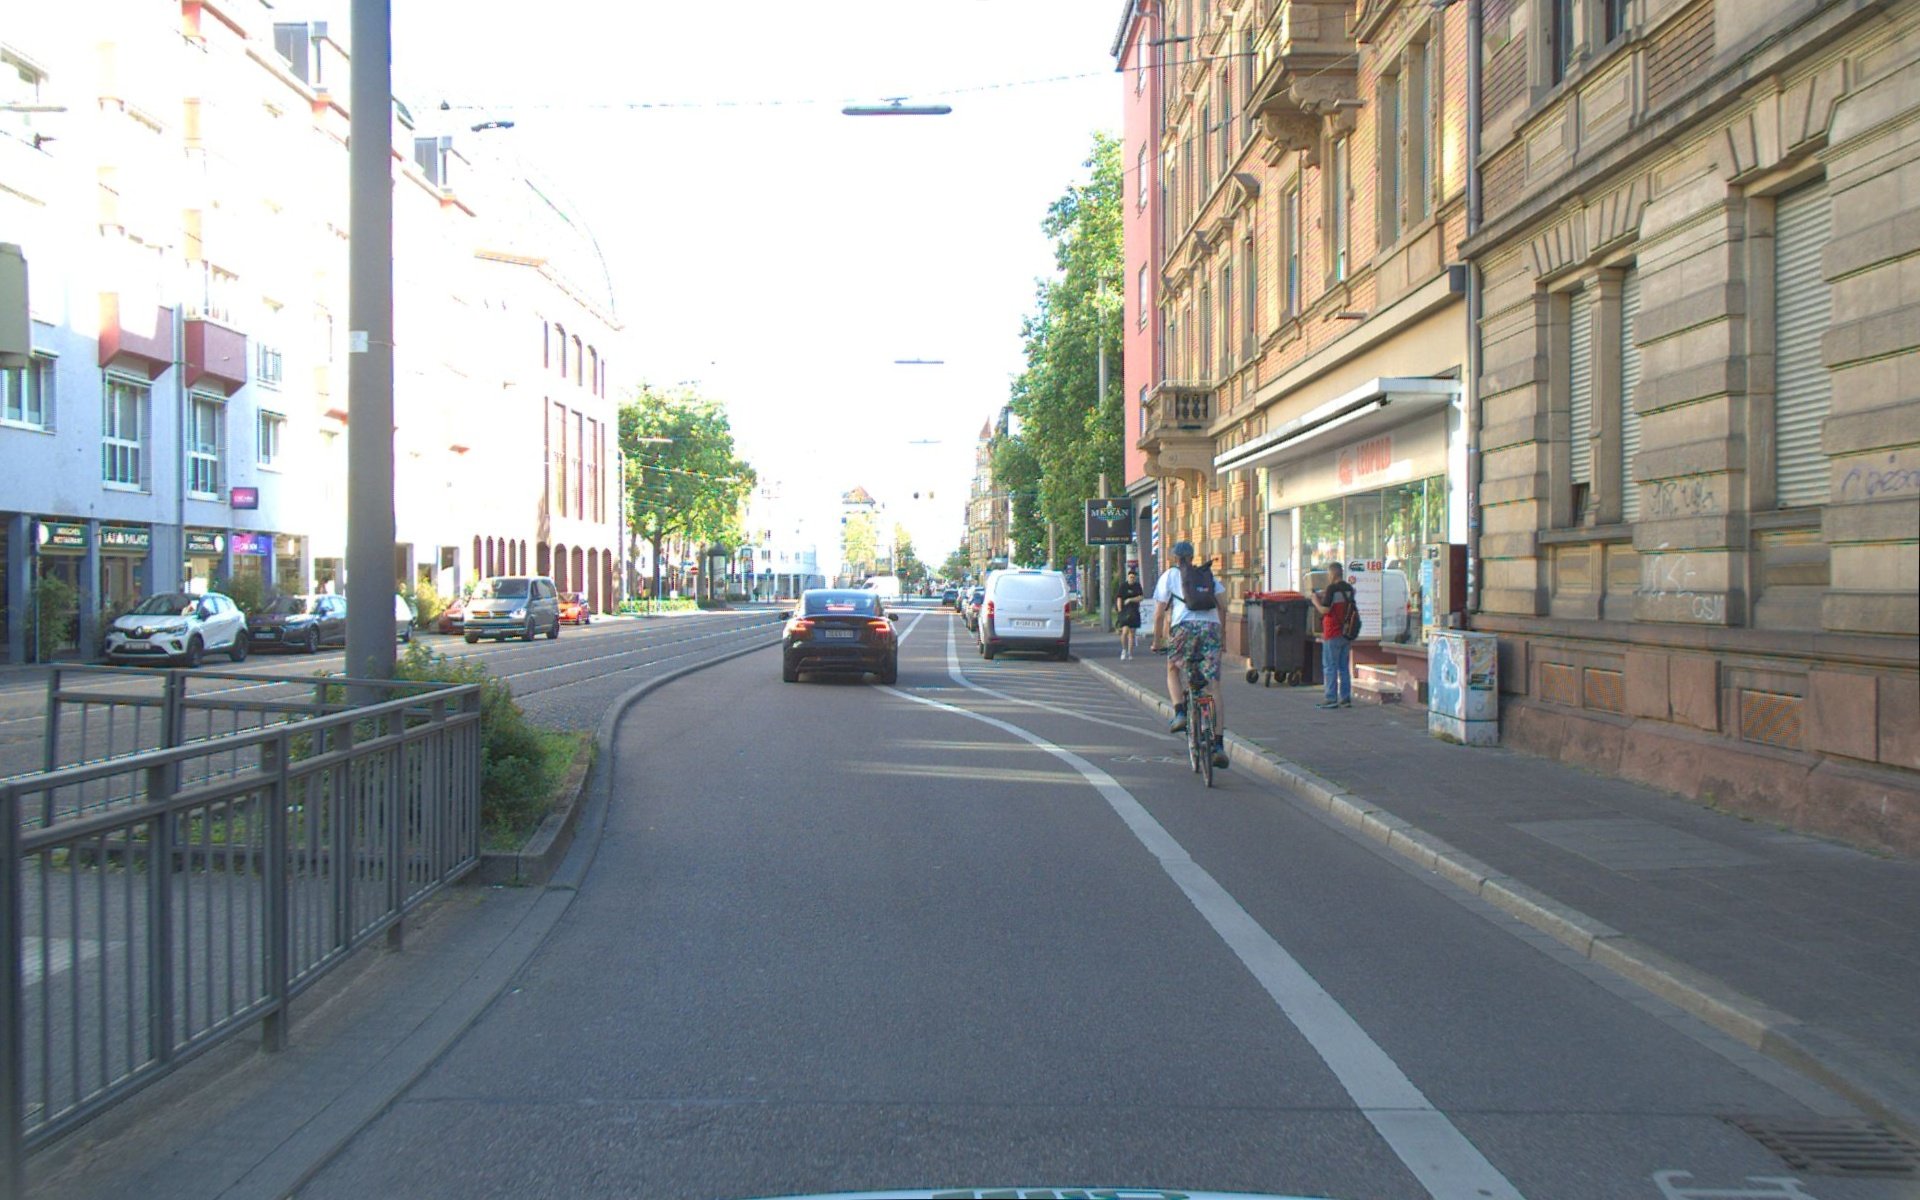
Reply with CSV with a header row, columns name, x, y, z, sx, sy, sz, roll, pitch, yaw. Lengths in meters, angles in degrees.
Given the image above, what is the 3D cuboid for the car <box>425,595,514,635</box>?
name,x,y,z,sx,sy,sz,roll,pitch,yaw
car,-17.906,0.513,60.607,1.920,1.348,4.819,1,0,-2

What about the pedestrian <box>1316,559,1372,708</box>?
name,x,y,z,sx,sy,sz,roll,pitch,yaw
pedestrian,4.609,0.385,19.867,0.461,1.758,0.585,0,1,35

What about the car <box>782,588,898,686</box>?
name,x,y,z,sx,sy,sz,roll,pitch,yaw
car,-1.885,0.553,26.829,1.685,1.430,3.709,1,1,-2

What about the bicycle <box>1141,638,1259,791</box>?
name,x,y,z,sx,sy,sz,roll,pitch,yaw
bicycle,2.033,0.943,14.277,0.634,1.159,2.095,1,0,-2

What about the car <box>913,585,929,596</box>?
name,x,y,z,sx,sy,sz,roll,pitch,yaw
car,-5.525,-1.381,232.912,1.954,1.552,3.996,0,0,-5

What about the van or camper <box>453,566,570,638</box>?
name,x,y,z,sx,sy,sz,roll,pitch,yaw
van or camper,-13.319,0.045,49.403,1.952,1.974,4.835,-3,0,2

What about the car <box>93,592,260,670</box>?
name,x,y,z,sx,sy,sz,roll,pitch,yaw
car,-17.505,0.640,37.178,1.879,1.642,4.367,0,0,-3

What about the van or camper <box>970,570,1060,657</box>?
name,x,y,z,sx,sy,sz,roll,pitch,yaw
van or camper,1.375,0.329,43.233,1.931,2.081,5.329,2,0,-2

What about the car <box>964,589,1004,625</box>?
name,x,y,z,sx,sy,sz,roll,pitch,yaw
car,1.122,0.304,79.154,1.679,1.618,4.064,1,0,-2

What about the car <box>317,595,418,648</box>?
name,x,y,z,sx,sy,sz,roll,pitch,yaw
car,-17.595,0.612,49.323,1.716,1.500,4.205,0,0,-4

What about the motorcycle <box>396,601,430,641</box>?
name,x,y,z,sx,sy,sz,roll,pitch,yaw
motorcycle,-19.103,0.725,57.810,0.508,1.320,2.081,1,0,-1

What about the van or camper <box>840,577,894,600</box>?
name,x,y,z,sx,sy,sz,roll,pitch,yaw
van or camper,-11.330,-1.408,202.079,6.830,2.700,2.111,-1,0,-45

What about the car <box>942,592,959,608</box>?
name,x,y,z,sx,sy,sz,roll,pitch,yaw
car,-0.929,0.013,158.560,1.561,1.458,3.686,-1,0,0

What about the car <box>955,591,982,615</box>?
name,x,y,z,sx,sy,sz,roll,pitch,yaw
car,0.531,0.212,108.171,1.676,1.482,4.549,1,0,-1

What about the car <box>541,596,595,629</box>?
name,x,y,z,sx,sy,sz,roll,pitch,yaw
car,-17.901,0.545,75.727,1.625,1.447,3.619,1,0,-1

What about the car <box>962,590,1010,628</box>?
name,x,y,z,sx,sy,sz,roll,pitch,yaw
car,1.088,0.346,67.159,1.713,1.468,4.317,1,0,4

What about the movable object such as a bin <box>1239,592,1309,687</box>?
name,x,y,z,sx,sy,sz,roll,pitch,yaw
movable object such as a bin,4.640,0.563,24.509,0.760,1.371,1.299,0,0,-2

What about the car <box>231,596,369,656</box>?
name,x,y,z,sx,sy,sz,roll,pitch,yaw
car,-17.493,0.646,44.088,1.863,1.483,4.825,0,0,-2

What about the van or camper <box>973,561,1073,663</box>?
name,x,y,z,sx,sy,sz,roll,pitch,yaw
van or camper,1.328,0.263,37.135,1.892,2.072,5.474,1,0,-1

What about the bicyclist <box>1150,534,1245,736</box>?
name,x,y,z,sx,sy,sz,roll,pitch,yaw
bicyclist,2.043,0.291,14.315,0.642,1.684,0.927,0,0,-2

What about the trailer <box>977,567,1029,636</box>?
name,x,y,z,sx,sy,sz,roll,pitch,yaw
trailer,1.395,0.051,54.546,1.626,2.154,3.843,2,0,1

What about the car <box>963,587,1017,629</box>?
name,x,y,z,sx,sy,sz,roll,pitch,yaw
car,1.099,0.301,62.530,1.766,1.460,4.322,2,0,-2

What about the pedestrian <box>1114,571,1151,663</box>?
name,x,y,z,sx,sy,sz,roll,pitch,yaw
pedestrian,3.495,0.334,33.485,0.659,1.846,0.756,0,0,-2
